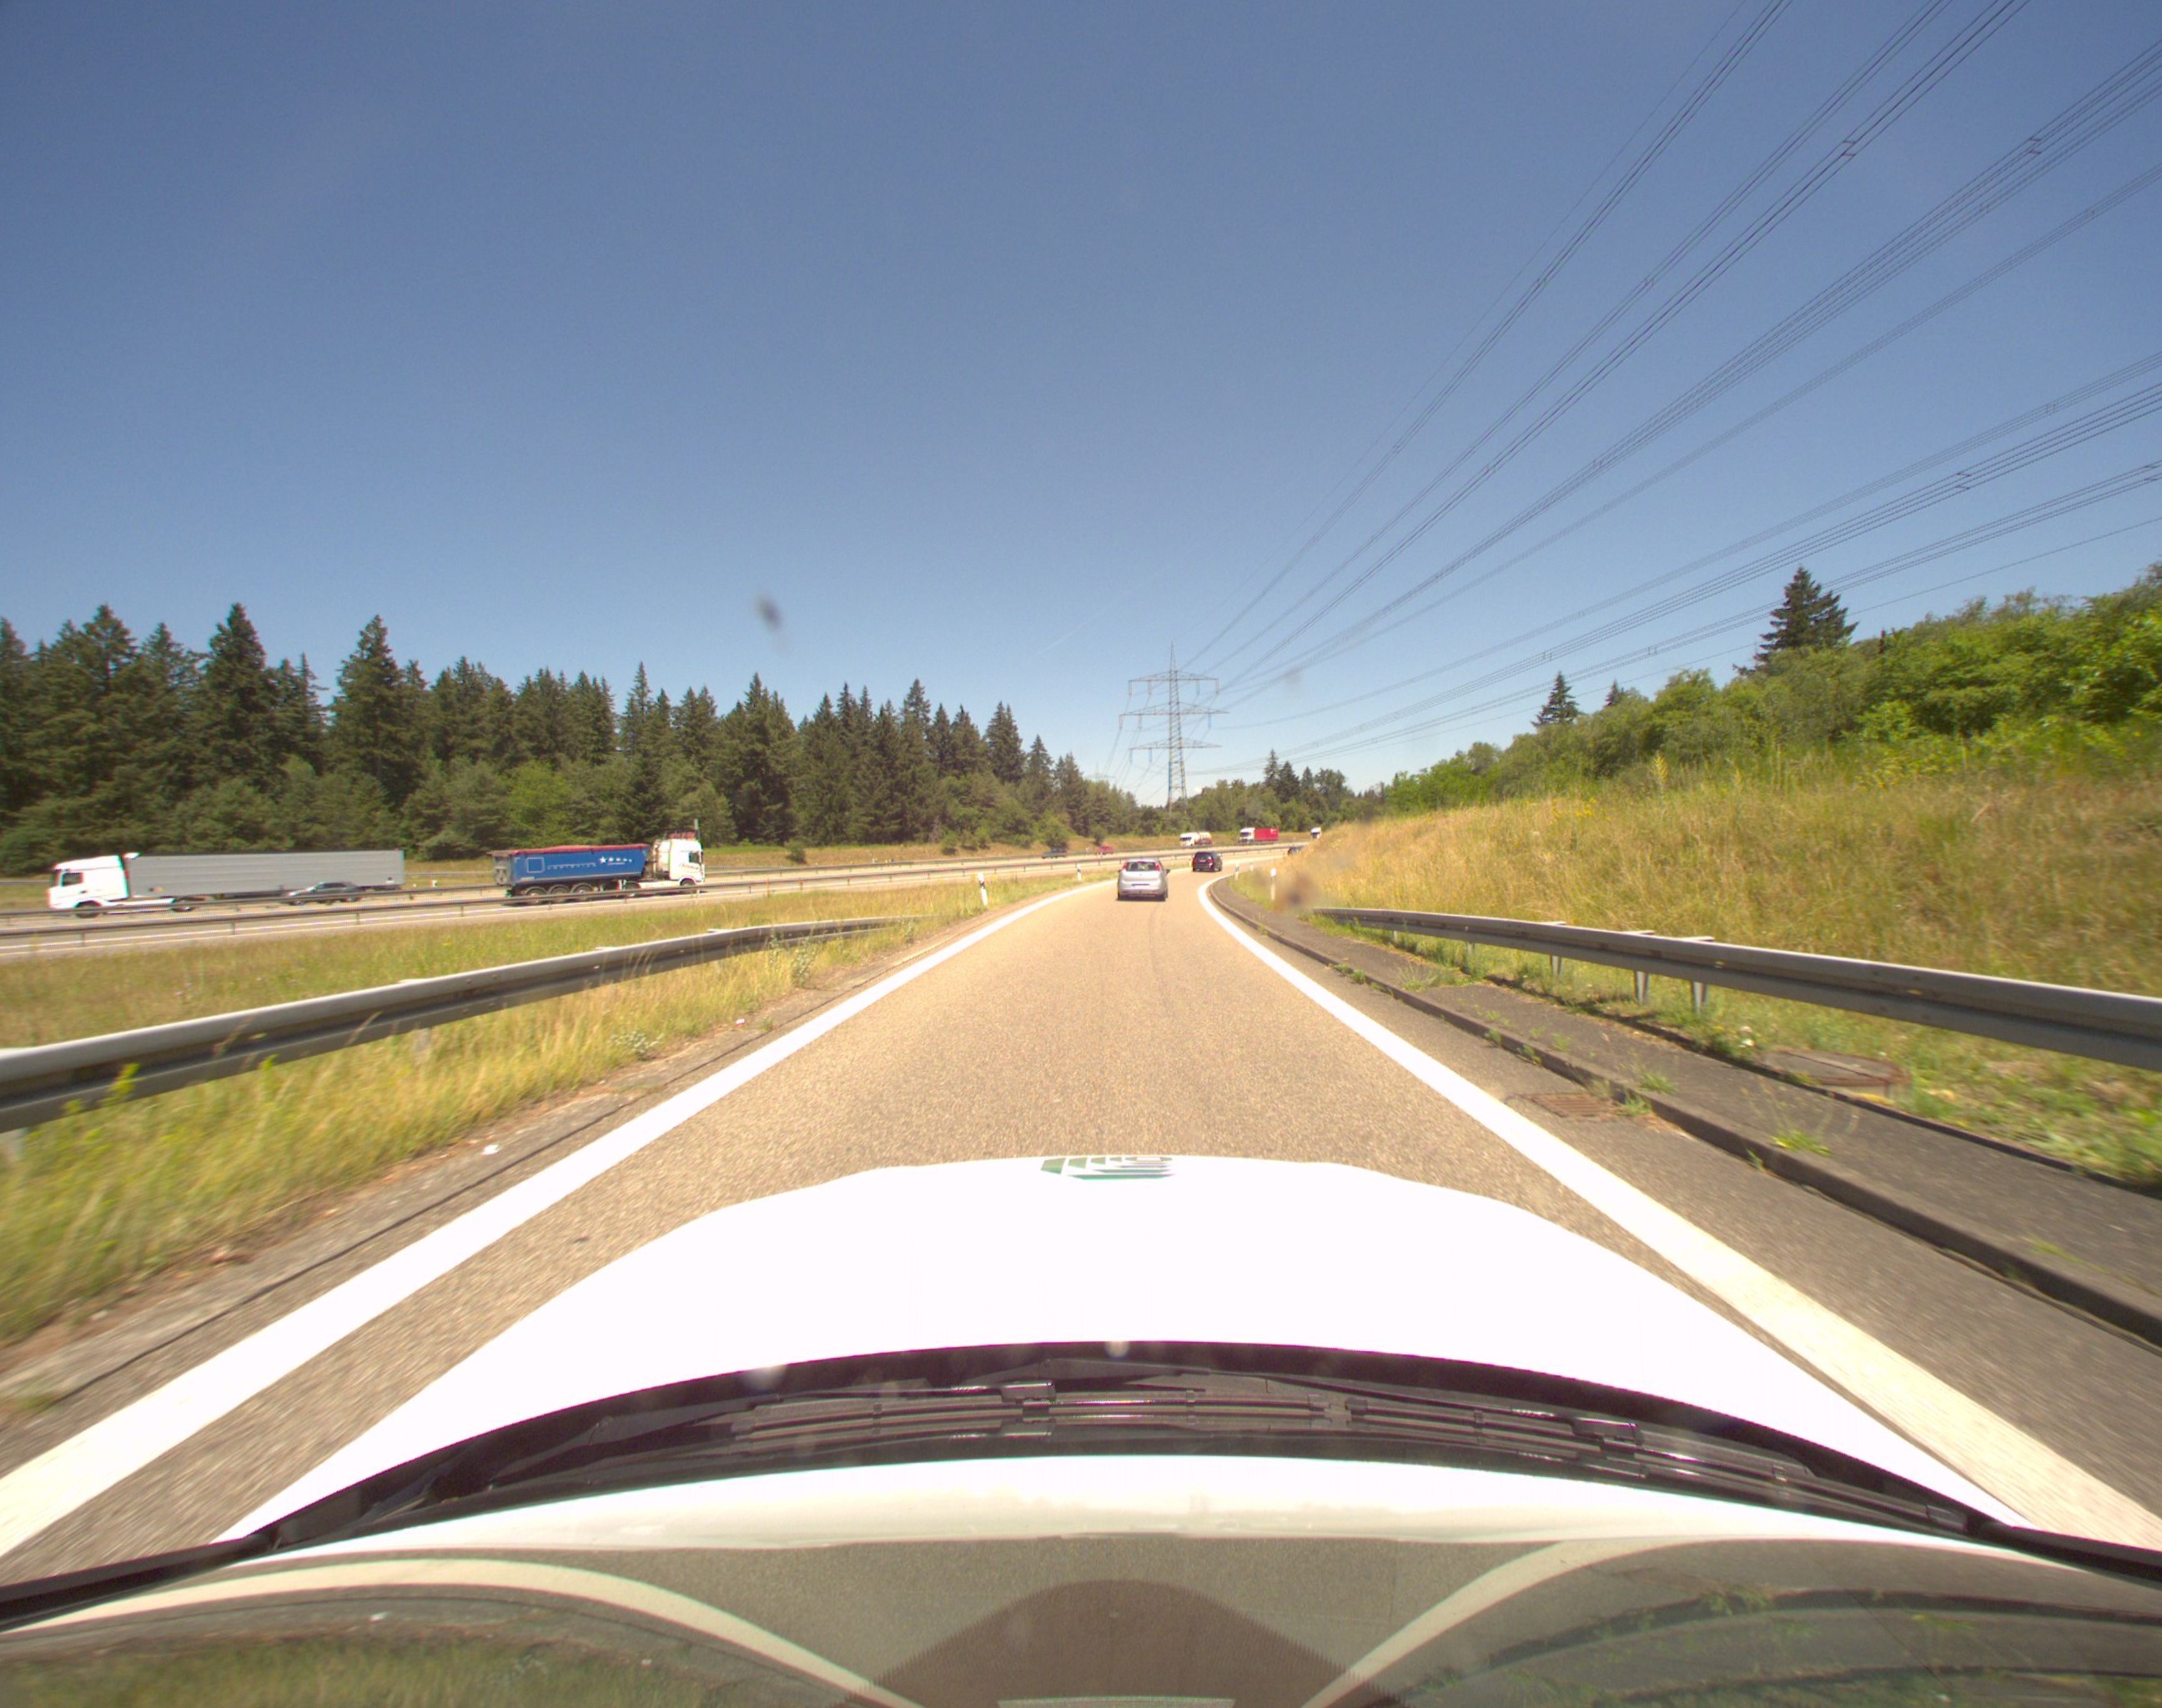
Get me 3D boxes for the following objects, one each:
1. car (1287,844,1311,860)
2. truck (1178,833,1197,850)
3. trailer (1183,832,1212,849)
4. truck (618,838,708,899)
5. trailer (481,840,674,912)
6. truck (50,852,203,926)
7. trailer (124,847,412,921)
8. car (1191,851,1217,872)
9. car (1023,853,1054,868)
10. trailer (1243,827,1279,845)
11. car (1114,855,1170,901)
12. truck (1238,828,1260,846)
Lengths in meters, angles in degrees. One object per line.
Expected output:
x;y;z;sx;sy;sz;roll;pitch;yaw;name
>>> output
27.326;-0.261;102.069;1.863;1.684;4.025;-4;0;30;car
25.298;-3.060;193.525;2.741;3.796;4.026;0;2;38;truck
28.184;-3.274;197.246;2.745;3.797;8.995;0;2;38;trailer
-28.650;0.943;55.941;2.730;3.806;4.652;0;3;36;truck
-31.648;1.209;51.809;2.744;3.806;9.950;0;3;36;trailer
-62.575;2.191;53.527;2.910;4.392;6.312;-3;0;38;truck
-58.182;1.956;59.119;2.896;4.387;14.389;-3;0;38;trailer
10.285;0.608;68.039;1.693;1.676;3.411;-1;0;15;car
-5.973;0.866;115.343;1.974;1.848;4.387;-1;3;38;car
42.647;-4.273;192.440;2.517;3.796;13.831;0;2;38;trailer
2.223;0.817;28.986;1.696;1.481;3.407;1;0;9;car
38.714;-3.967;187.400;2.517;3.796;5.705;0;2;38;truck
